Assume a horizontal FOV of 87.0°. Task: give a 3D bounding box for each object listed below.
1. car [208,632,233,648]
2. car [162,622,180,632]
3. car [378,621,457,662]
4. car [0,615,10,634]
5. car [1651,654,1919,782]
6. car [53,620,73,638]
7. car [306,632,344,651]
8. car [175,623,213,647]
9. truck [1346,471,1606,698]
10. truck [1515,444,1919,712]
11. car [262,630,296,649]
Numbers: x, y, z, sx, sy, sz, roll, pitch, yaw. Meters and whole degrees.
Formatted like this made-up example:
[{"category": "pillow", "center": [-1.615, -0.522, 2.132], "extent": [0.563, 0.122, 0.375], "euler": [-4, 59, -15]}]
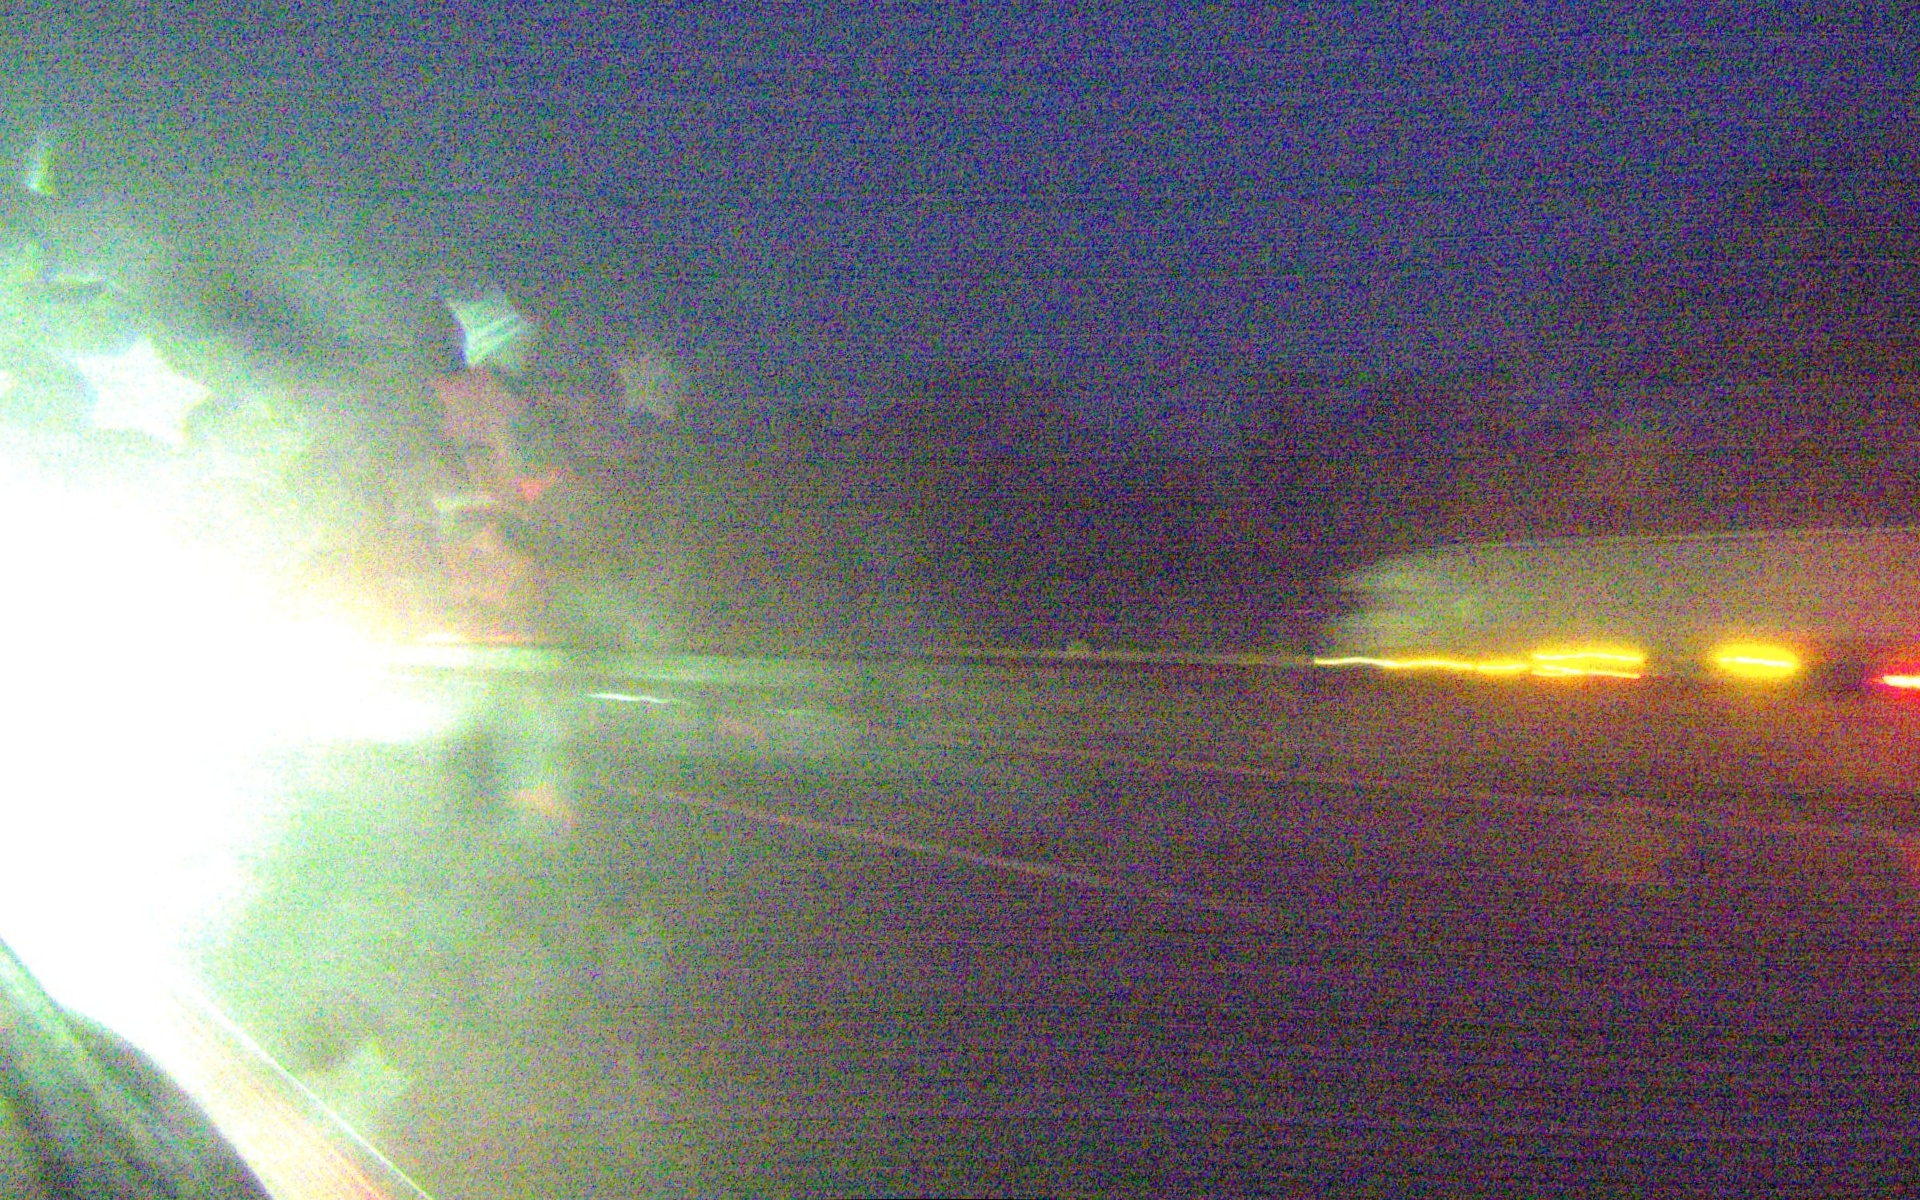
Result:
[{"category": "car", "center": [-83.939, 4.552, 114.804], "extent": [3.412, 1.705, 1.619], "euler": [-1, -1, 42]}, {"category": "car", "center": [-141.041, 4.812, 180.794], "extent": [4.173, 1.802, 1.870], "euler": [-1, -1, 42]}, {"category": "car", "center": [-25.124, 1.889, 46.819], "extent": [4.392, 1.767, 1.702], "euler": [-1, -1, 39]}, {"category": "car", "center": [-160.205, 4.075, 168.422], "extent": [6.321, 3.229, 2.679], "euler": [-1, -1, 42]}, {"category": "car", "center": [12.339, 1.613, 14.392], "extent": [3.997, 1.524, 1.639], "euler": [-1, -1, 41]}, {"category": "car", "center": [-151.428, 4.860, 170.832], "extent": [4.718, 2.915, 2.131], "euler": [-1, -1, 42]}, {"category": "car", "center": [-53.408, 3.449, 85.110], "extent": [3.765, 1.514, 1.666], "euler": [-1, -1, 41]}, {"category": "car", "center": [-66.193, 2.995, 87.449], "extent": [4.142, 1.920, 1.887], "euler": [-1, -1, 41]}, {"category": "truck", "center": [14.320, -0.360, 28.273], "extent": [5.874, 5.634, 3.206], "euler": [-1, -1, 40]}, {"category": "truck", "center": [20.264, -0.444, 23.227], "extent": [12.787, 5.634, 3.206], "euler": [-1, -1, 41]}, {"category": "car", "center": [-65.471, 3.819, 97.261], "extent": [3.812, 1.724, 1.850], "euler": [-1, -1, 41]}]
